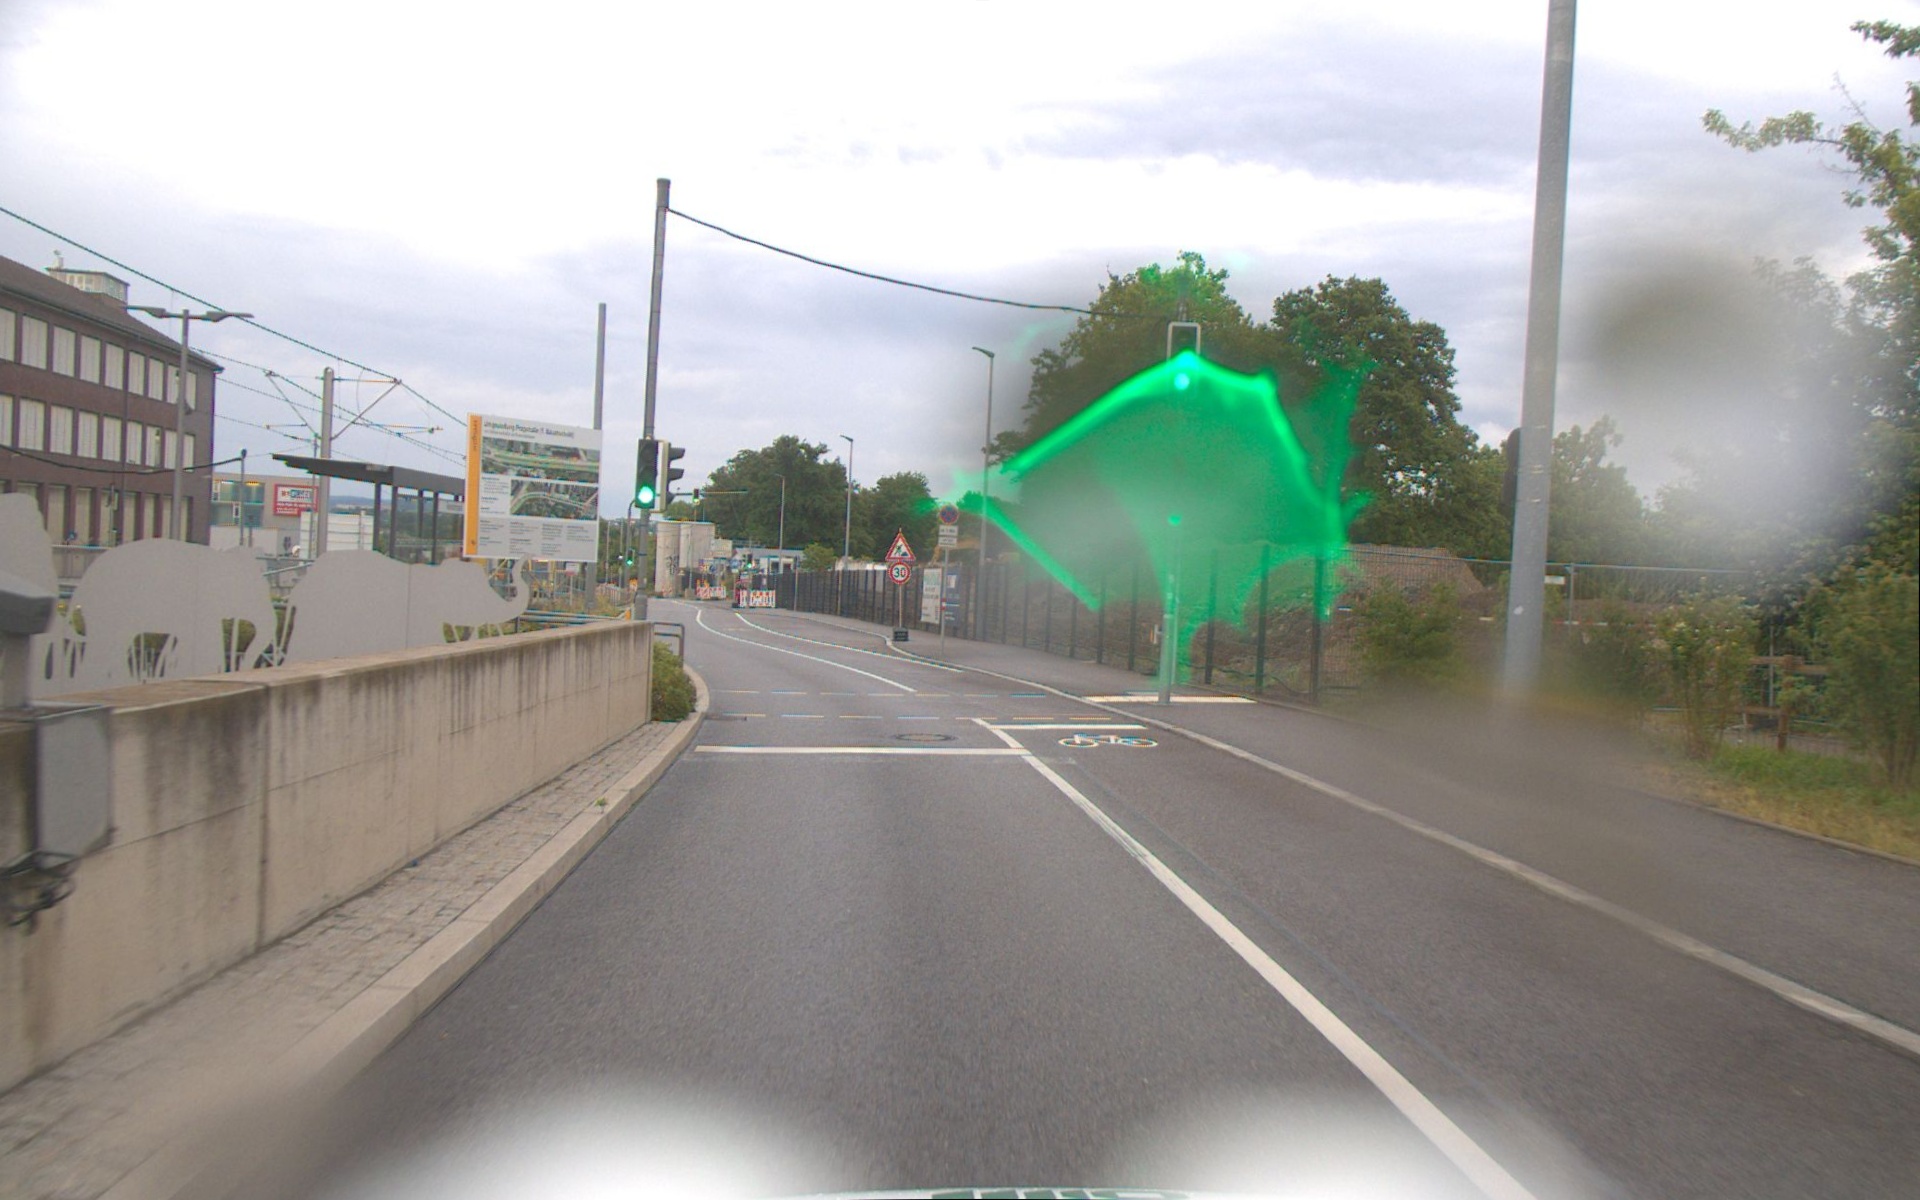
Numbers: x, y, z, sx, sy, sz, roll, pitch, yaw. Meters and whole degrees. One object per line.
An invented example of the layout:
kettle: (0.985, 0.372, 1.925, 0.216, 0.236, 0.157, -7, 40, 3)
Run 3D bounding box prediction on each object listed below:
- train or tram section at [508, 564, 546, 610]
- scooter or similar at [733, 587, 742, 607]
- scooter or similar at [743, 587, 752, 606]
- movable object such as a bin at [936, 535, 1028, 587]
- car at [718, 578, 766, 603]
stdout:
train or tram section: (-40.212, -1.232, 153.919, 2.905, 3.953, 19.502, 3, 0, -14)
scooter or similar: (-15.753, -0.196, 117.188, 0.603, 1.375, 1.909, 1, 0, -6)
scooter or similar: (-15.068, -0.256, 117.331, 0.603, 1.375, 1.909, 1, 0, -6)
movable object such as a bin: (2.702, -4.814, 205.532, 11.012, 6.100, 3.487, 1, 0, -5)
car: (-16.235, -0.702, 123.409, 1.781, 1.825, 4.411, 2, 0, 18)
